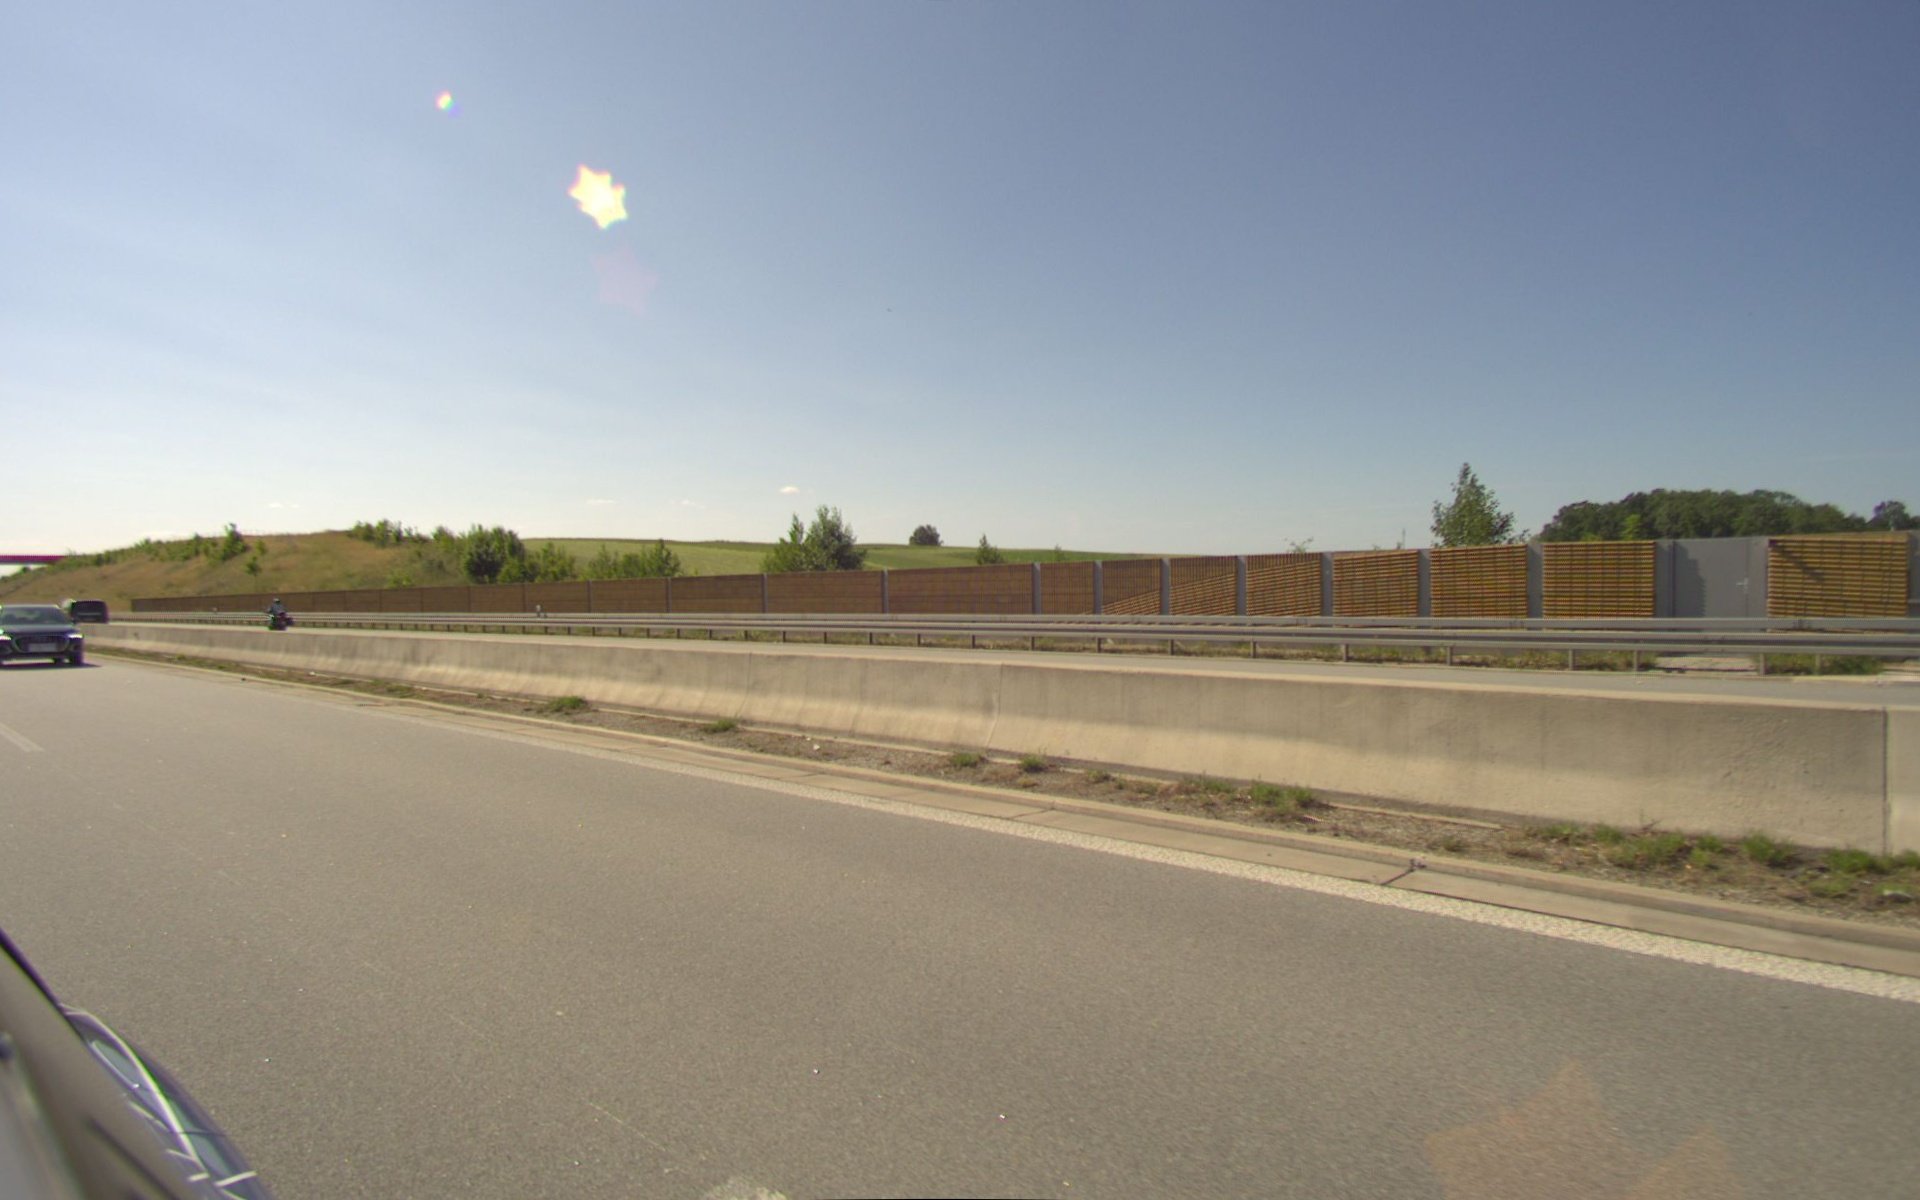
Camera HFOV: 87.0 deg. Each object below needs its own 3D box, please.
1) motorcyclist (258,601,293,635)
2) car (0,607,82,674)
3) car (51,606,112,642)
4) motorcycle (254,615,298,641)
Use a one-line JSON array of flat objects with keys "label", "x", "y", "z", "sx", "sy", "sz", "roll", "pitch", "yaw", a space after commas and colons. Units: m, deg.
[{"label": "motorcyclist", "x": -32.162, "y": 0.851, "z": 47.542, "sx": 1.428, "sy": 1.575, "sz": 1.002, "roll": -1, "pitch": 0, "yaw": 41}, {"label": "car", "x": -24.850, "y": 1.007, "z": 26.833, "sx": 5.220, "sy": 1.599, "sz": 1.704, "roll": -1, "pitch": 0, "yaw": 42}, {"label": "car", "x": -51.837, "y": 1.381, "z": 59.664, "sx": 5.735, "sy": 2.029, "sz": 1.973, "roll": -1, "pitch": 0, "yaw": 42}, {"label": "motorcycle", "x": -32.140, "y": 1.319, "z": 47.528, "sx": 2.867, "sy": 1.176, "sz": 1.002, "roll": -1, "pitch": 0, "yaw": 41}]
